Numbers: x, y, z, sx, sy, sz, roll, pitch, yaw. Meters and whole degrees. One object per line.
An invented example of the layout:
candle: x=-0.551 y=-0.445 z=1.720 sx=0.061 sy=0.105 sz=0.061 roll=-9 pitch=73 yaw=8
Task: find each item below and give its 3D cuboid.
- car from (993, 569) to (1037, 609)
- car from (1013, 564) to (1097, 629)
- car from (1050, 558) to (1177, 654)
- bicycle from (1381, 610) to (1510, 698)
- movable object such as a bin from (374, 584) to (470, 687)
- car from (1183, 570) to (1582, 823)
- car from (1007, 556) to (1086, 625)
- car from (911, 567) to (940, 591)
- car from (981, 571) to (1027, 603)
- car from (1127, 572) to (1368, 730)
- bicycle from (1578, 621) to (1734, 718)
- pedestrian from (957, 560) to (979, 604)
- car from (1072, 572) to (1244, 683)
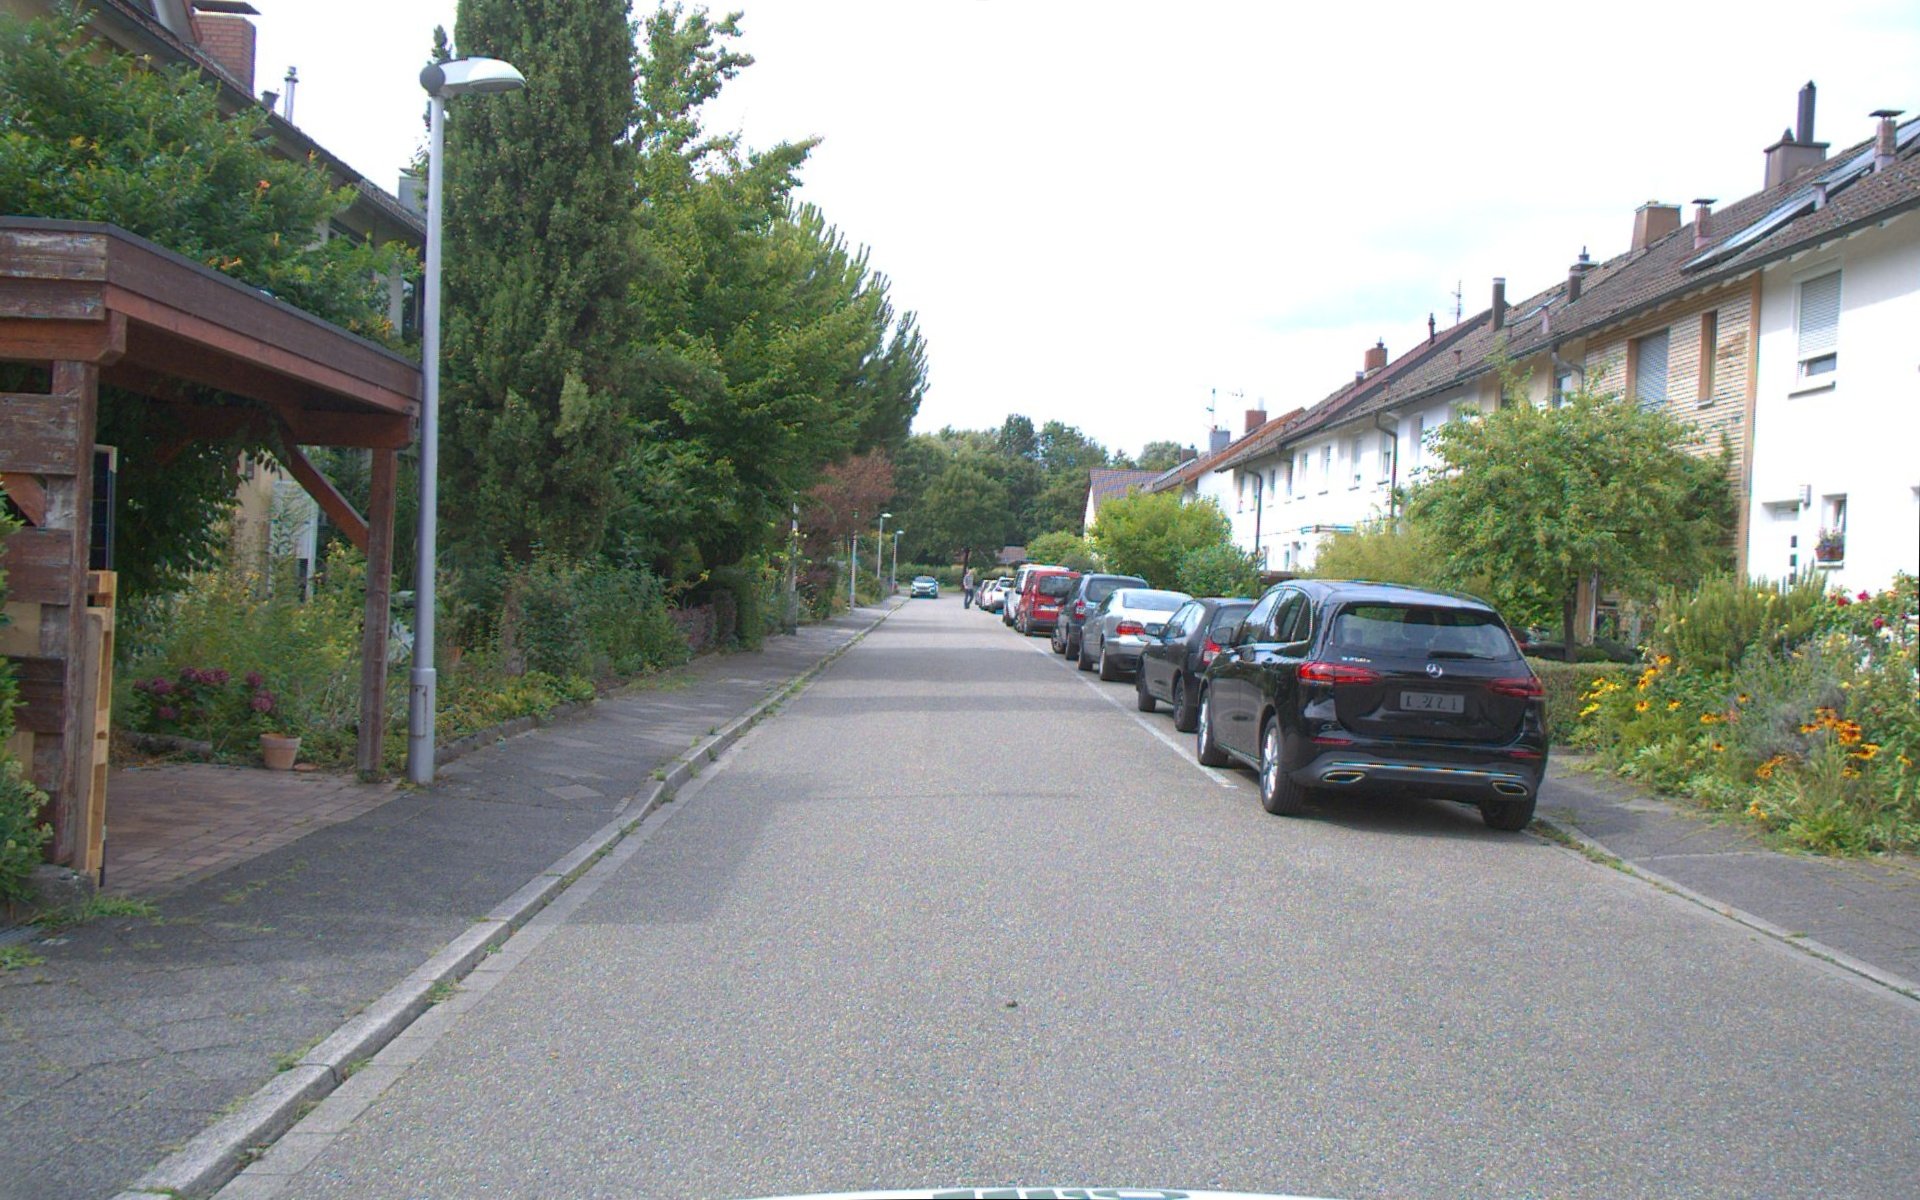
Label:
car: x=2.345 y=-0.516 z=71.525 sx=1.679 sy=1.570 sz=3.973 roll=4 pitch=1 yaw=0
car: x=2.628 y=-0.135 z=46.674 sx=1.775 sy=1.679 sz=4.407 roll=2 pitch=1 yaw=-4
car: x=2.942 y=0.062 z=32.508 sx=1.830 sy=1.682 sz=4.462 roll=2 pitch=1 yaw=-3
bicycle: x=6.225 y=0.685 z=21.228 sx=1.506 sy=1.040 sz=0.376 roll=2 pitch=1 yaw=4
movable object such as a bin: x=-5.382 y=0.345 z=16.590 sx=0.697 sy=0.973 sz=0.751 roll=2 pitch=1 yaw=-1
car: x=2.927 y=0.557 z=12.547 sx=1.714 sy=1.492 sz=4.647 roll=2 pitch=1 yaw=-1
car: x=2.645 y=-0.338 z=51.672 sx=1.980 sy=1.981 sz=4.745 roll=2 pitch=1 yaw=-3
car: x=-2.369 y=-1.479 z=116.054 sx=1.894 sy=1.583 sz=4.634 roll=2 pitch=1 yaw=0
car: x=2.072 y=-0.640 z=78.868 sx=1.801 sy=1.437 sz=4.634 roll=2 pitch=1 yaw=-3
car: x=3.020 y=0.465 z=18.206 sx=1.698 sy=1.452 sz=4.124 roll=2 pitch=1 yaw=-3
bicycle: x=8.047 y=0.782 z=19.202 sx=0.650 sy=0.999 sz=1.743 roll=1 pitch=1 yaw=-20
pedestrian: x=0.386 y=-0.875 z=78.831 sx=0.928 sy=2.048 sz=0.915 roll=2 pitch=1 yaw=1
car: x=3.003 y=0.354 z=26.072 sx=1.830 sy=1.431 sz=4.765 roll=4 pitch=1 yaw=-3
